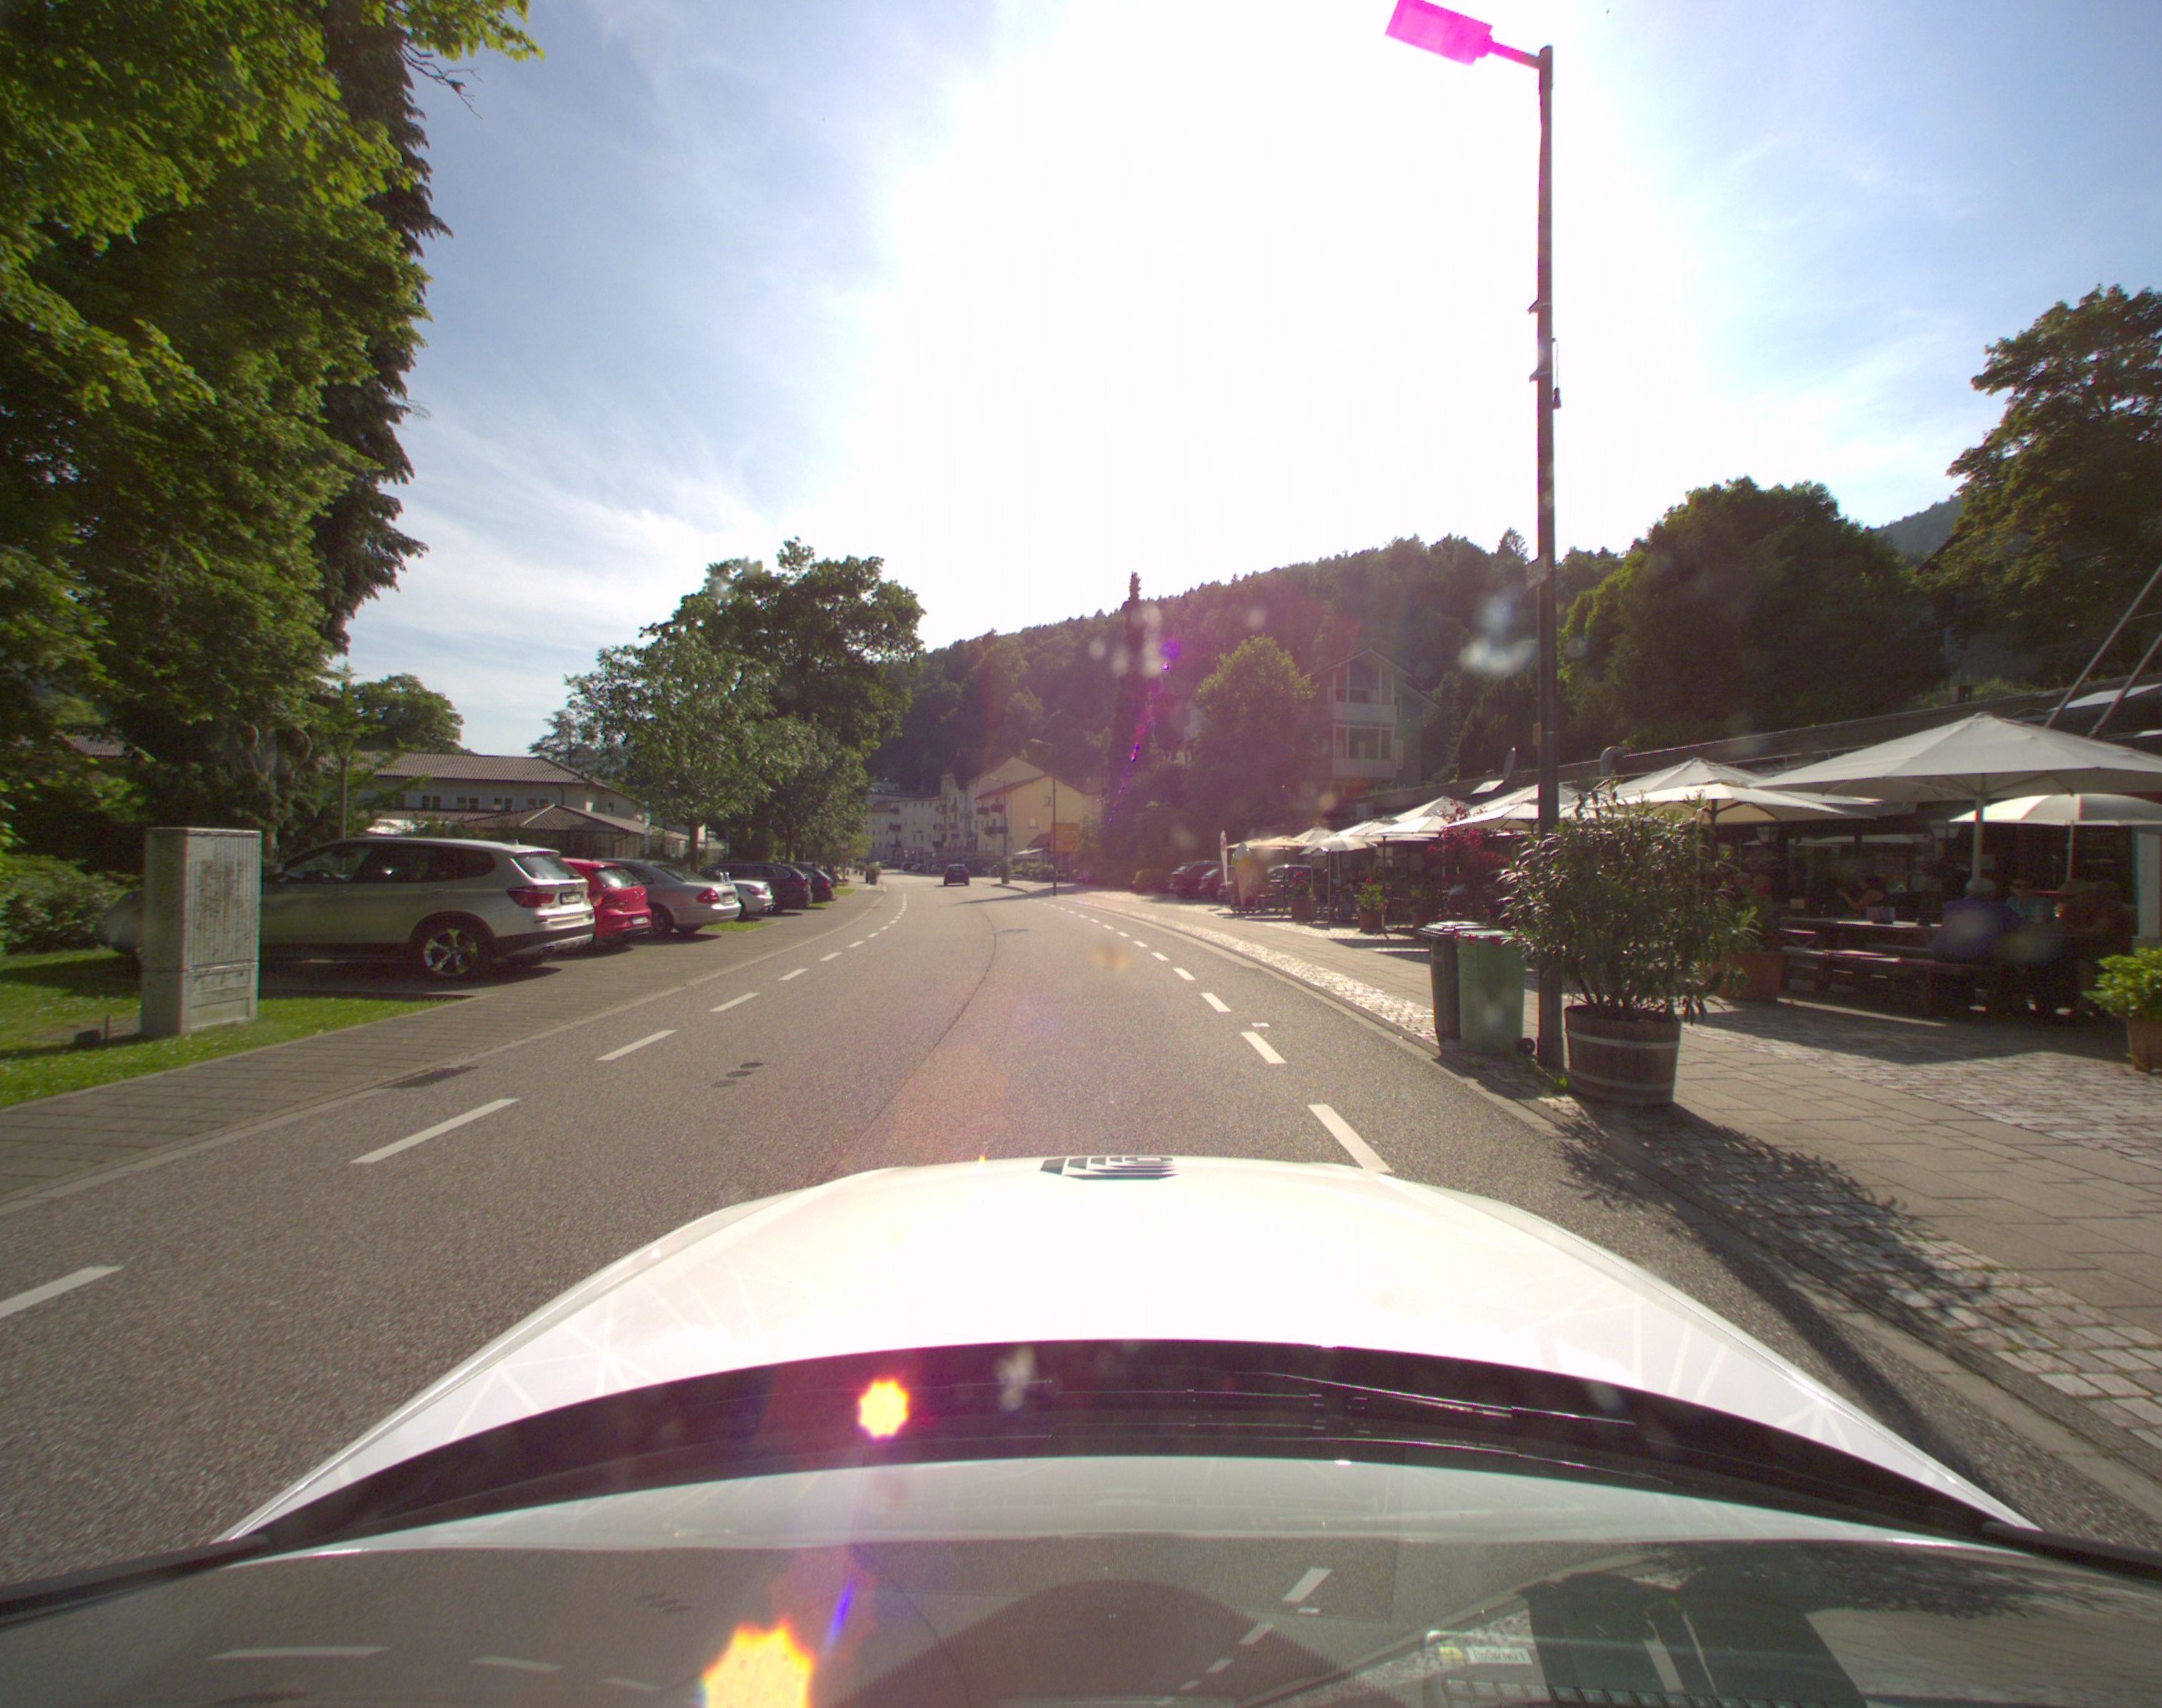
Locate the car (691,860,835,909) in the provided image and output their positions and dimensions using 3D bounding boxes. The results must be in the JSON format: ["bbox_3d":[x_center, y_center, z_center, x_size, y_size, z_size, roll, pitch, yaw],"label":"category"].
[{"bbox_3d":[-10.428,1.008,27.023,4.287,1.432,1.702,2,-2,-18],"label":"car"}]

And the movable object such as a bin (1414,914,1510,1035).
[{"bbox_3d":[3.189,0.992,6.844,0.546,0.925,0.519,-1,0,-1],"label":"movable object such as a bin"}]

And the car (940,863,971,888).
[{"bbox_3d":[-9.195,1.553,59.544,1.730,1.574,3.733,2,1,-16],"label":"car"}]

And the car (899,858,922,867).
[{"bbox_3d":[-32.649,1.606,155.860,4.045,1.516,1.751,-2,3,-42],"label":"car"}]

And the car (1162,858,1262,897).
[{"bbox_3d":[5.615,0.979,35.058,3.876,1.580,1.742,0,-1,-11],"label":"car"}]

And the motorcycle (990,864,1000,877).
[{"bbox_3d":[-9.196,1.780,86.822,0.698,1.296,2.200,-2,0,-16],"label":"motorcycle"}]

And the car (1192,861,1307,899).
[{"bbox_3d":[6.643,1.020,32.186,4.111,1.415,1.742,0,-1,-11],"label":"car"}]

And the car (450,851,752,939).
[{"bbox_3d":[-8.865,0.779,15.457,4.482,1.418,1.804,3,-2,-10],"label":"car"}]

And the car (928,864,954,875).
[{"bbox_3d":[-22.885,2.489,133.140,3.925,1.589,1.762,4,-1,-22],"label":"car"}]

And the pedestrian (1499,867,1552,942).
[{"bbox_3d":[7.597,0.852,13.918,0.474,1.245,0.588,-1,-2,-27],"label":"pedestrian"}]

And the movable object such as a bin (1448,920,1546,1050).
[{"bbox_3d":[3.197,0.992,6.280,0.512,0.912,0.441,-1,0,-1],"label":"movable object such as a bin"}]

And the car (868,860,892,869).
[{"bbox_3d":[-38.199,2.035,154.858,4.015,1.662,1.979,-1,0,-33],"label":"car"}]

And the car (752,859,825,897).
[{"bbox_3d":[-13.108,1.076,36.623,2.648,1.547,1.678,2,-2,-6],"label":"car"}]

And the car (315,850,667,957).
[{"bbox_3d":[-8.889,0.757,12.637,3.987,1.432,1.714,2,-2,-10],"label":"car"}]

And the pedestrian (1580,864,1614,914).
[{"bbox_3d":[13.678,0.922,21.606,0.679,1.299,0.641,-1,-1,28],"label":"pedestrian"}]

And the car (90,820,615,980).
[{"bbox_3d":[-8.640,0.575,10.131,4.482,1.664,1.804,3,-2,-10],"label":"car"}]

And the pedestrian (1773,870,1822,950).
[{"bbox_3d":[11.321,0.876,12.872,0.464,1.231,0.394,-1,-1,24],"label":"pedestrian"}]

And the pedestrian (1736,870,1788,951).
[{"bbox_3d":[11.030,0.904,13.198,0.469,1.265,0.438,-1,0,-15],"label":"pedestrian"}]

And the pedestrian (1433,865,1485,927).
[{"bbox_3d":[7.961,0.873,17.183,0.805,1.261,0.702,-1,-1,7],"label":"pedestrian"}]

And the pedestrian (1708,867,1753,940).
[{"bbox_3d":[11.839,0.887,14.842,0.573,1.282,0.642,-2,-1,42],"label":"pedestrian"}]

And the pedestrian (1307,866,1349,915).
[{"bbox_3d":[6.606,0.958,21.796,0.812,1.261,0.696,0,-1,-20],"label":"pedestrian"}]

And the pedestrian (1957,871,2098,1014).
[{"bbox_3d":[9.098,0.816,7.849,0.648,1.284,0.642,-1,0,-13],"label":"pedestrian"}]

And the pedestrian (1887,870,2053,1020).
[{"bbox_3d":[8.235,0.803,7.559,0.949,1.284,0.642,-1,0,-13],"label":"pedestrian"}]

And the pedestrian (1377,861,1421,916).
[{"bbox_3d":[8.214,0.875,21.048,0.704,1.381,0.802,0,-1,-42],"label":"pedestrian"}]

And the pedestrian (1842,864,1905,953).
[{"bbox_3d":[11.569,0.783,11.899,0.407,1.267,0.508,-1,0,-1],"label":"pedestrian"}]

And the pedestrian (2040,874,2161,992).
[{"bbox_3d":[11.229,0.847,8.972,0.504,1.231,0.701,-1,0,8],"label":"pedestrian"}]

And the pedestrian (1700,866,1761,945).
[{"bbox_3d":[11.209,0.874,14.067,0.530,1.304,0.606,-1,0,-14],"label":"pedestrian"}]

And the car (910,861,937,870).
[{"bbox_3d":[-27.808,2.048,144.004,4.370,1.461,1.760,3,-3,-20],"label":"car"}]

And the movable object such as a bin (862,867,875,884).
[{"bbox_3d":[-18.716,1.917,71.665,1.080,1.427,1.369,3,-1,-15],"label":"movable object such as a bin"}]

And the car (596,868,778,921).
[{"bbox_3d":[-9.840,1.013,20.636,3.797,1.243,1.755,1,-1,-13],"label":"car"}]

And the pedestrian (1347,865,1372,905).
[{"bbox_3d":[9.059,1.001,26.531,0.693,1.261,0.815,-1,-1,15],"label":"pedestrian"}]

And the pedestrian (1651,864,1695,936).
[{"bbox_3d":[11.179,0.859,15.371,0.573,1.304,0.642,-2,-1,42],"label":"pedestrian"}]

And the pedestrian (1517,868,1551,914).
[{"bbox_3d":[12.299,1.000,22.133,0.680,1.209,0.704,-1,-1,20],"label":"pedestrian"}]

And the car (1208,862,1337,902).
[{"bbox_3d":[6.938,1.008,29.666,4.264,1.379,1.703,0,-1,-11],"label":"car"}]

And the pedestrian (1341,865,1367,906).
[{"bbox_3d":[8.518,0.965,25.409,0.693,1.261,0.815,-1,-1,15],"label":"pedestrian"}]

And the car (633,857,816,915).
[{"bbox_3d":[-10.053,0.910,23.307,4.498,1.510,1.705,2,-1,-13],"label":"car"}]

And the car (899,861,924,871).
[{"bbox_3d":[-30.743,2.170,147.968,4.099,1.666,1.760,4,-2,-22],"label":"car"}]
